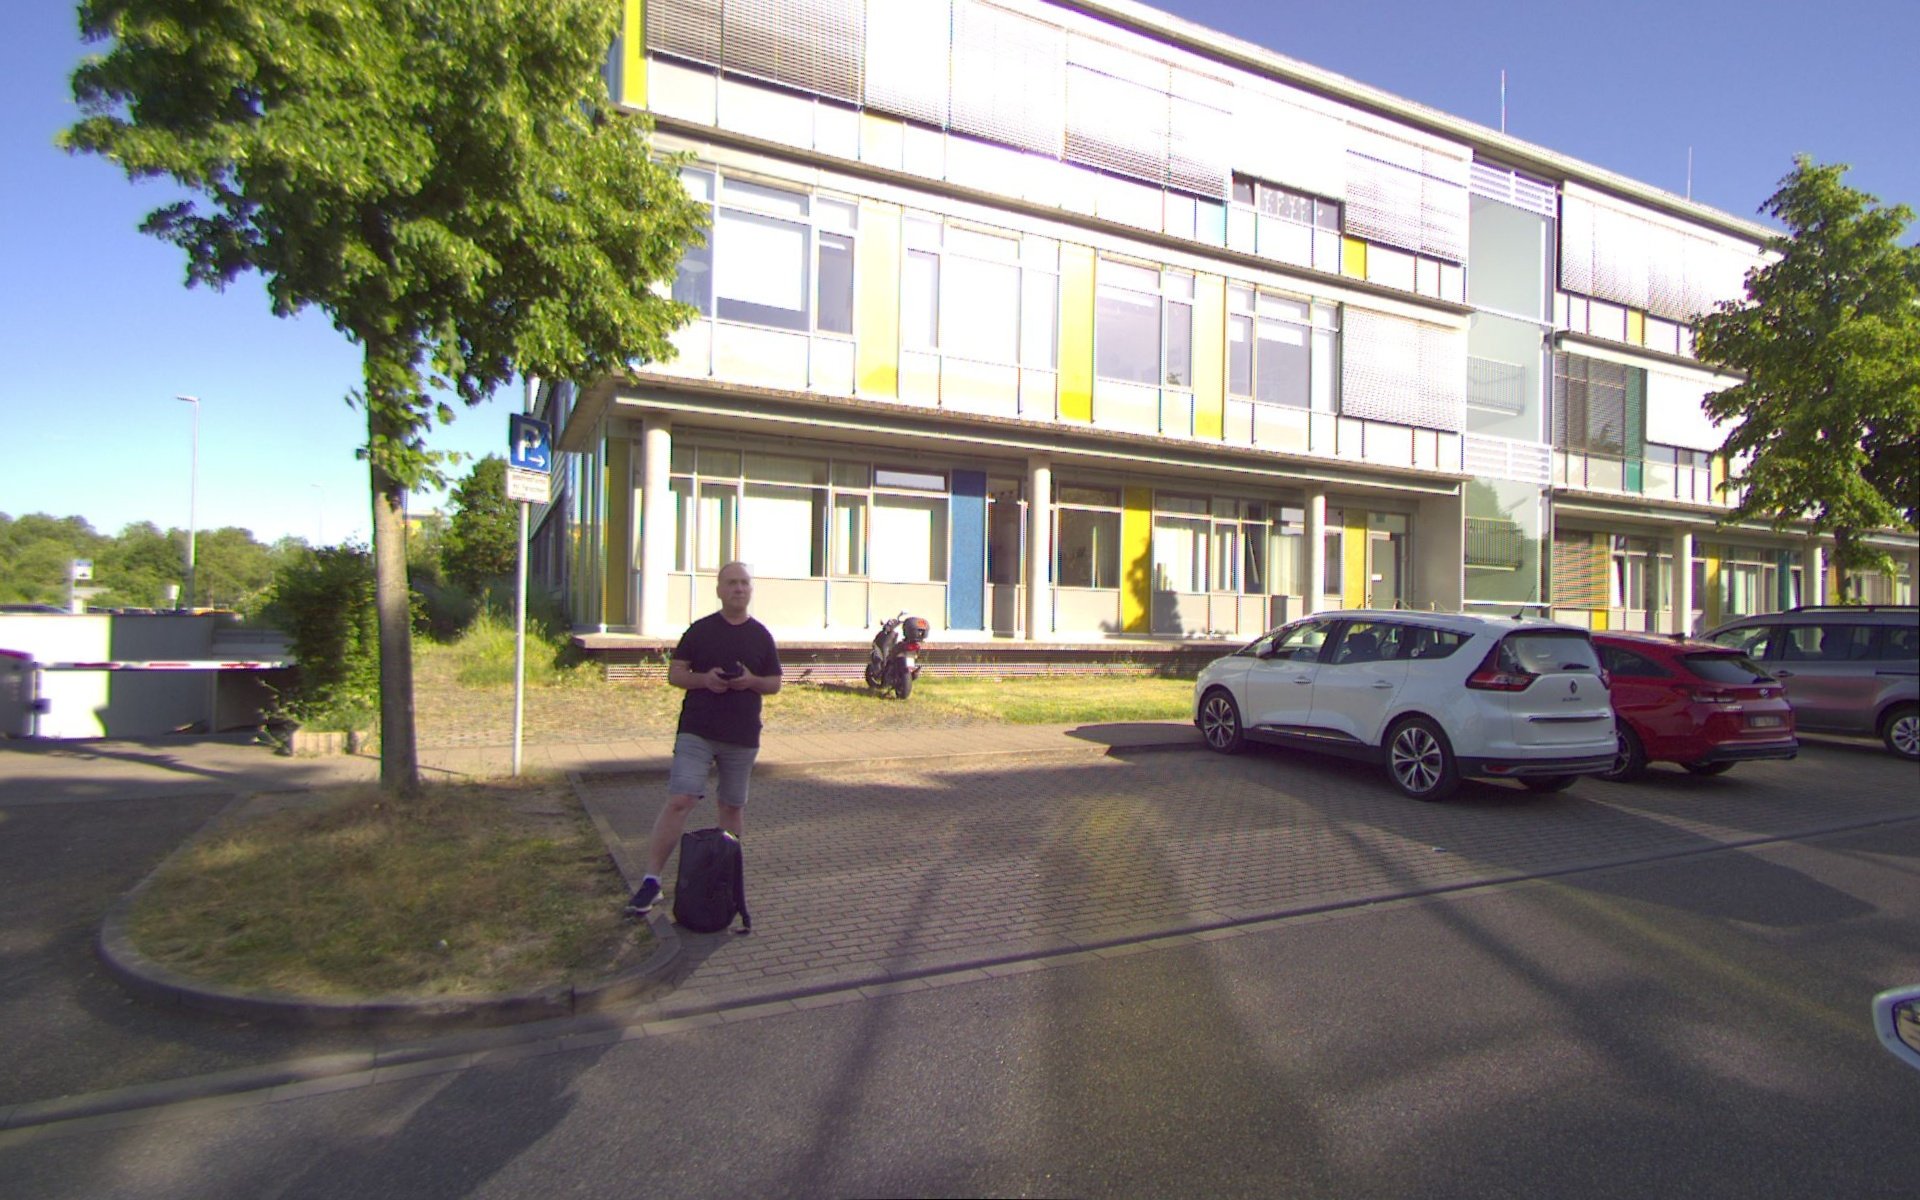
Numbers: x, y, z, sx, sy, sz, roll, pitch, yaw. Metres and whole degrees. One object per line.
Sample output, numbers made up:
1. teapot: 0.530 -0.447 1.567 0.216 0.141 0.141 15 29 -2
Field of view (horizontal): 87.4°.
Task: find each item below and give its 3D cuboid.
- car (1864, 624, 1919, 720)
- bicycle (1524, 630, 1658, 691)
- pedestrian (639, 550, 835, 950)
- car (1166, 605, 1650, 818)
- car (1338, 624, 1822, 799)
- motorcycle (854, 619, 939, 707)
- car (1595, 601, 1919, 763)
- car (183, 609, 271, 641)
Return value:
1. car: 17.943 1.290 16.678 1.849 1.628 3.969 1 0 -29
2. bicycle: 13.394 1.272 21.344 2.328 1.169 0.871 2 0 -5
3. pedestrian: -1.188 0.702 5.241 0.814 1.867 0.855 1 1 -24
4. car: 4.230 0.921 10.438 1.840 1.673 4.603 2 -1 -22
5. car: 6.648 1.067 11.394 1.803 1.520 4.421 2 -1 -25
6. motorcycle: -1.000 0.912 15.287 0.493 1.165 2.035 0 2 -27
7. car: 11.668 1.007 13.815 1.803 1.890 4.728 1 0 -25
8. car: -48.755 1.679 66.899 4.331 2.040 1.989 1 -1 -24
